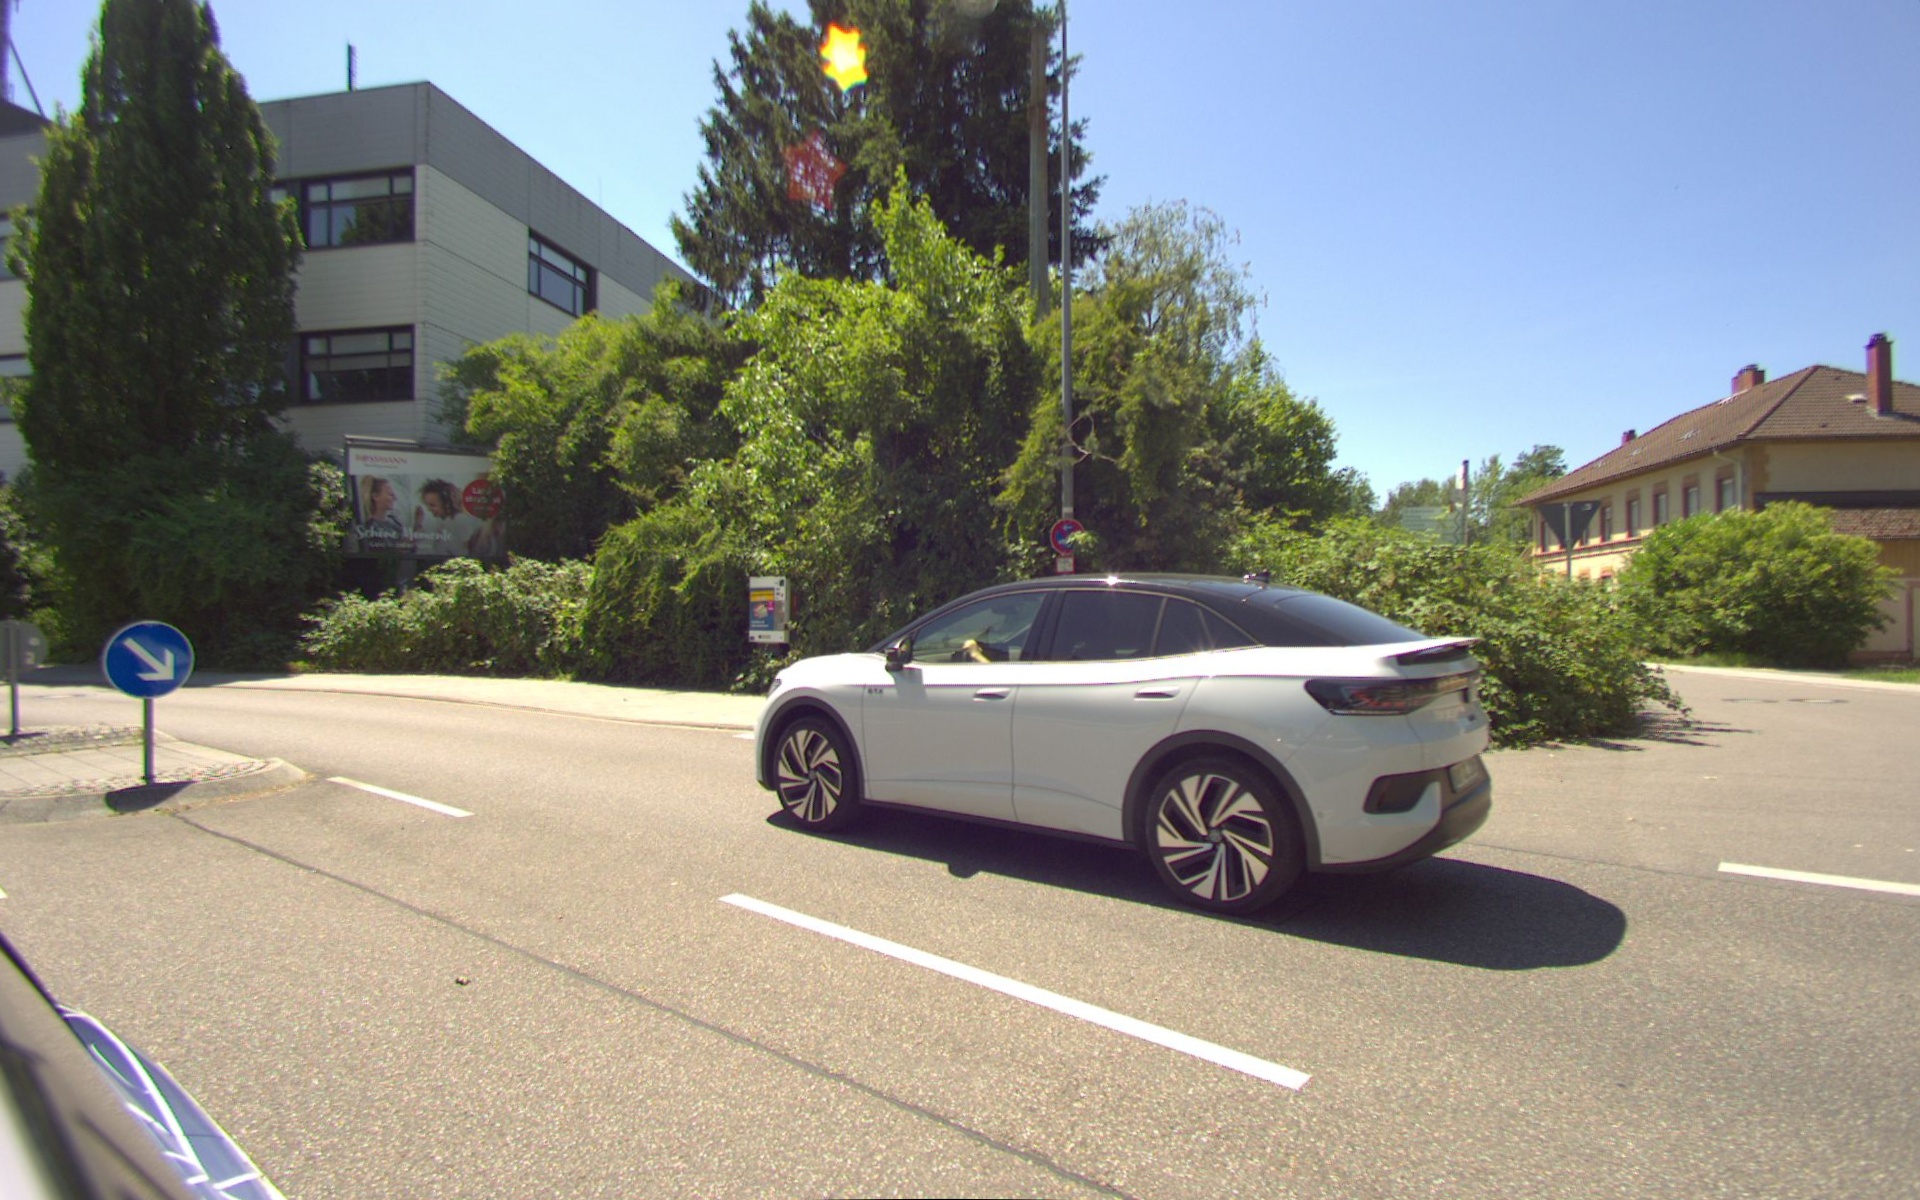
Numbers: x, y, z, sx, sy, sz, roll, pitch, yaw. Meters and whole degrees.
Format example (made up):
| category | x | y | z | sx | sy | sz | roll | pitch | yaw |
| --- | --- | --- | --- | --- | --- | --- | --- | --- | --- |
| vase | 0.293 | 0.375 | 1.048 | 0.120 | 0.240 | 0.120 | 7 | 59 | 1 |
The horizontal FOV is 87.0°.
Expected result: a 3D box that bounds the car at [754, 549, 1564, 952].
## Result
| category | x | y | z | sx | sy | sz | roll | pitch | yaw |
| --- | --- | --- | --- | --- | --- | --- | --- | --- | --- |
| car | 0.913 | 0.625 | 5.967 | 4.333 | 1.542 | 1.826 | -2 | -1 | 39 |
